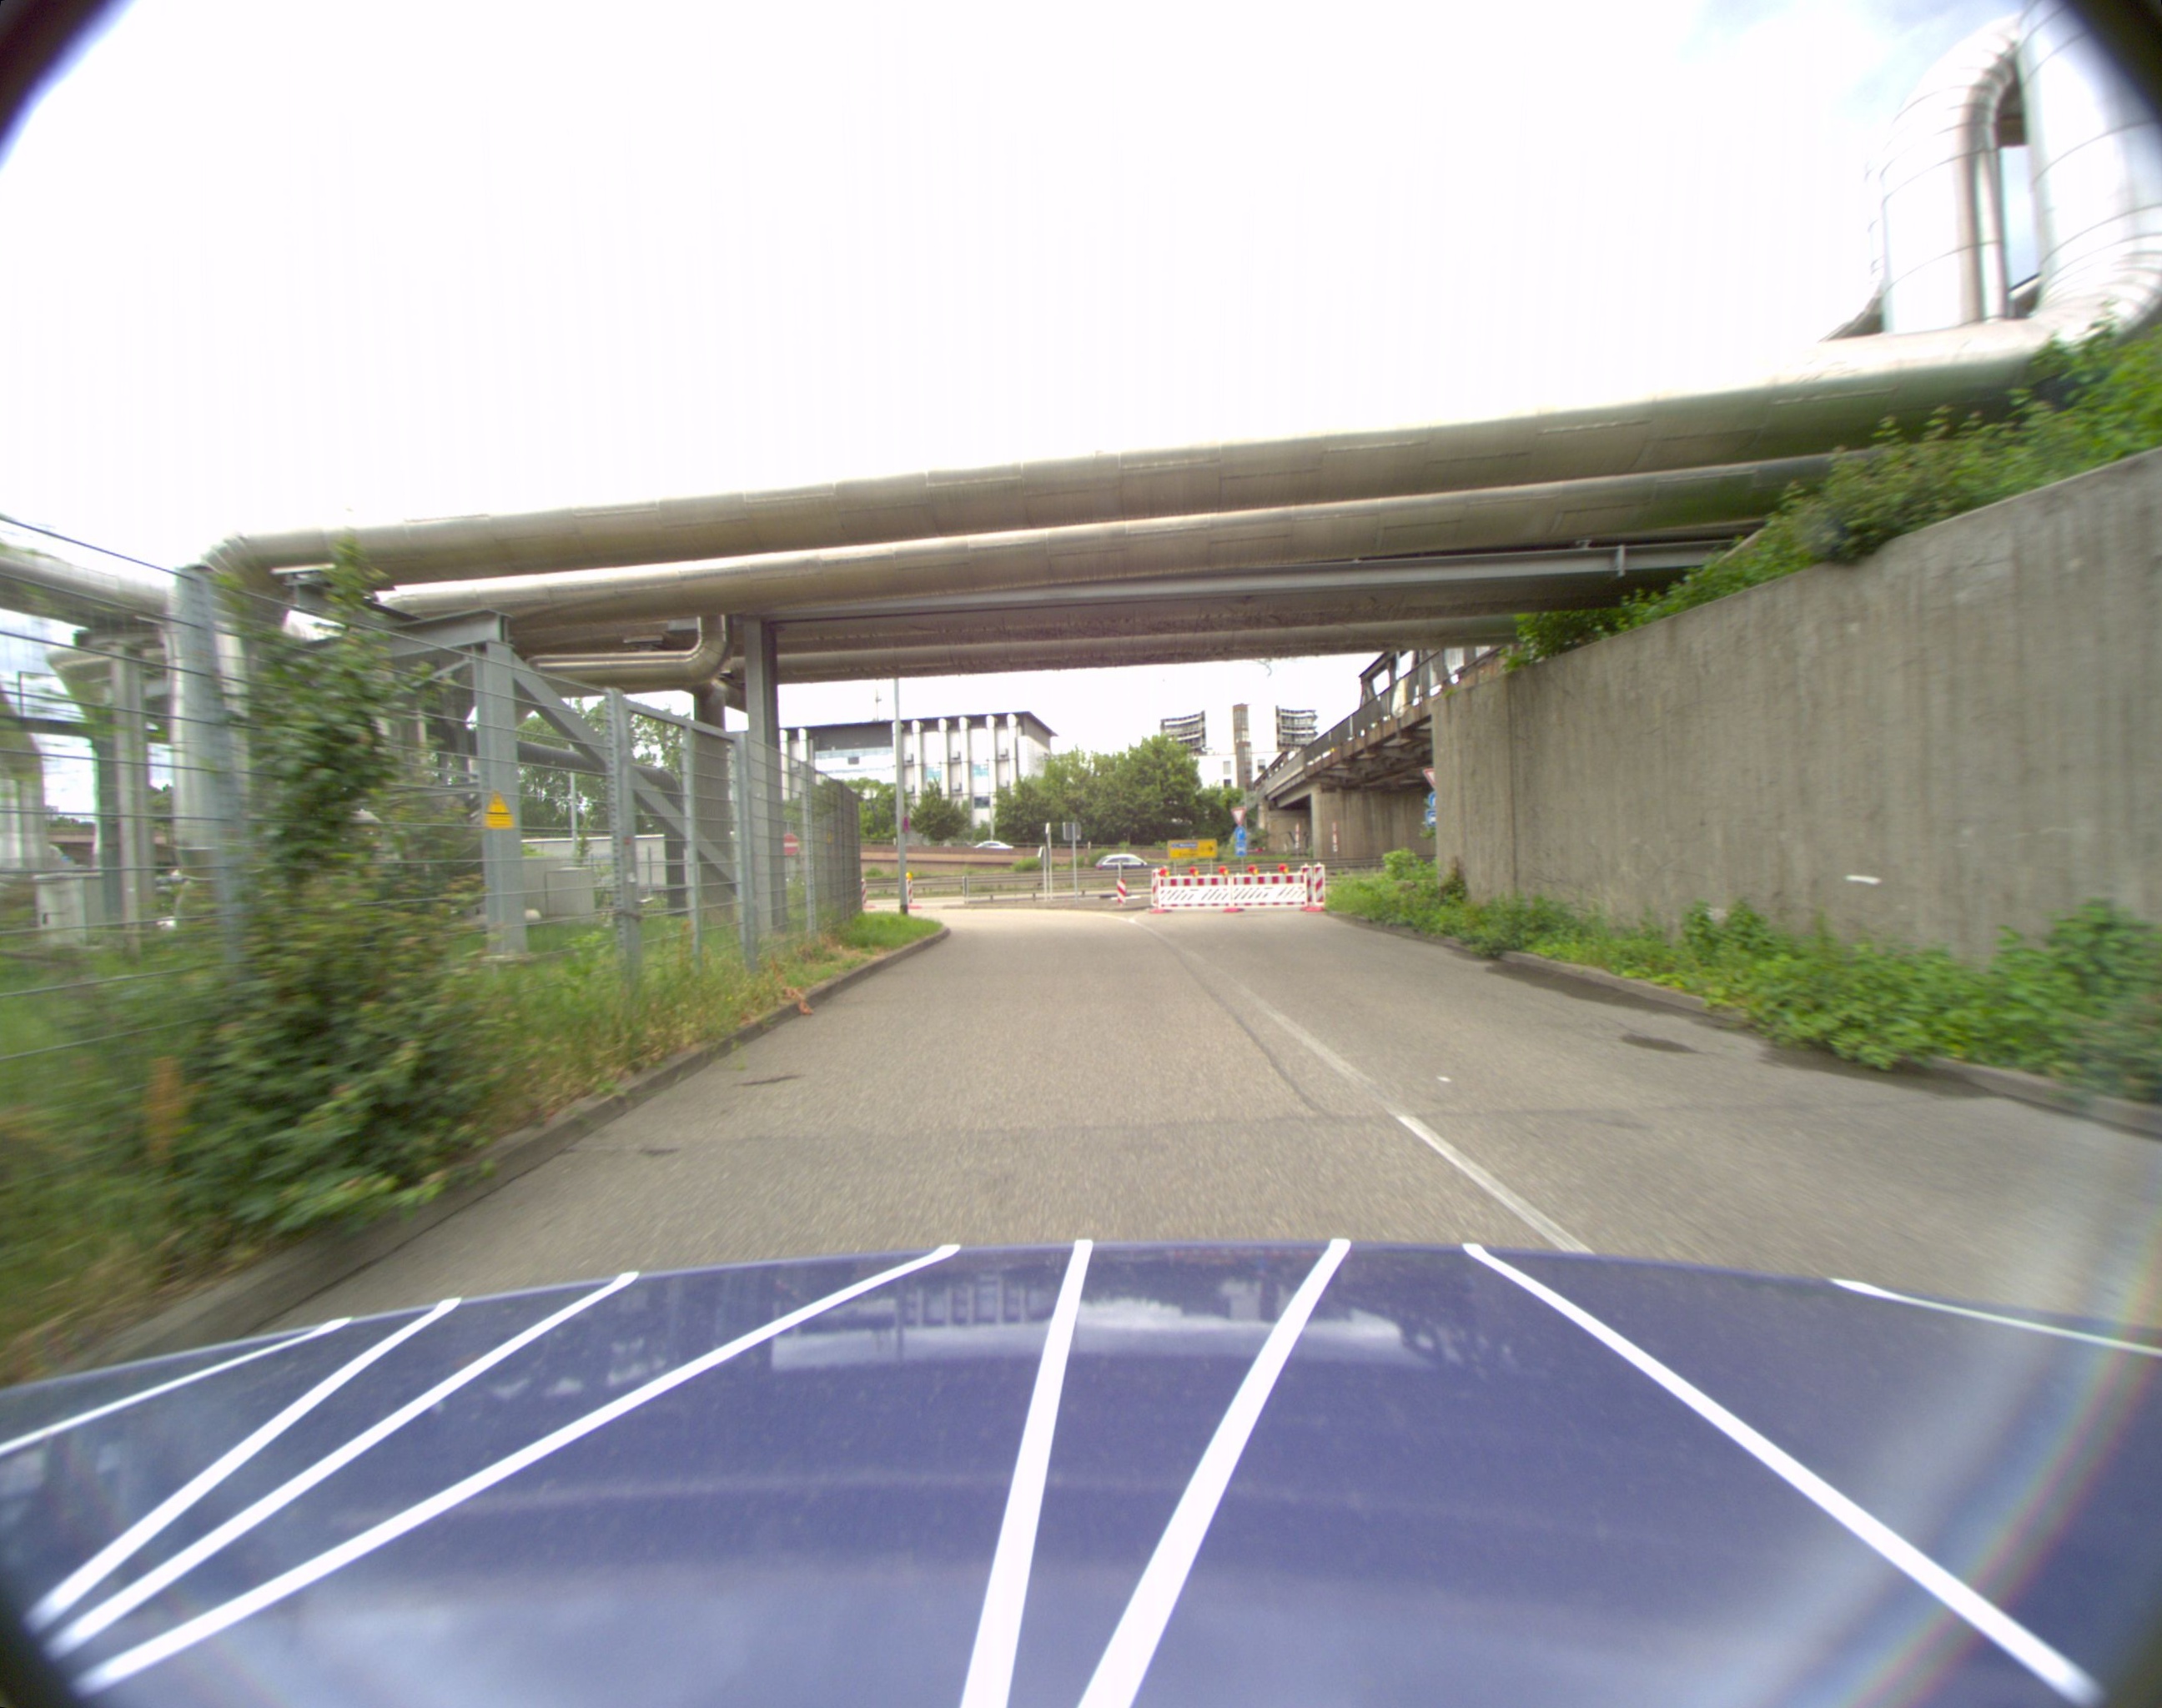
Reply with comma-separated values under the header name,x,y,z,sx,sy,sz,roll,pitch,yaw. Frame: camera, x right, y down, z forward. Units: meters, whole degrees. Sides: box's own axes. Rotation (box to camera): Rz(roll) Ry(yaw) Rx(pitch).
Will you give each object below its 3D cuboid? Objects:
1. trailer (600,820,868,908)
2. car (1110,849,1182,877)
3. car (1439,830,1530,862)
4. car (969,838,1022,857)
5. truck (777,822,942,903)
name,x,y,z,sx,sy,sz,roll,pitch,yaw
trailer,-19.114,0.473,42.571,13.256,4.300,3.164,-2,3,-2
car,3.960,0.540,46.825,4.289,1.503,1.980,-2,3,1
car,24.687,-0.497,46.624,4.456,1.533,1.999,-4,3,0
car,-7.366,-0.570,65.577,4.289,1.503,1.980,-2,3,1
truck,-12.274,0.387,42.773,8.136,4.109,3.162,-2,3,-2
